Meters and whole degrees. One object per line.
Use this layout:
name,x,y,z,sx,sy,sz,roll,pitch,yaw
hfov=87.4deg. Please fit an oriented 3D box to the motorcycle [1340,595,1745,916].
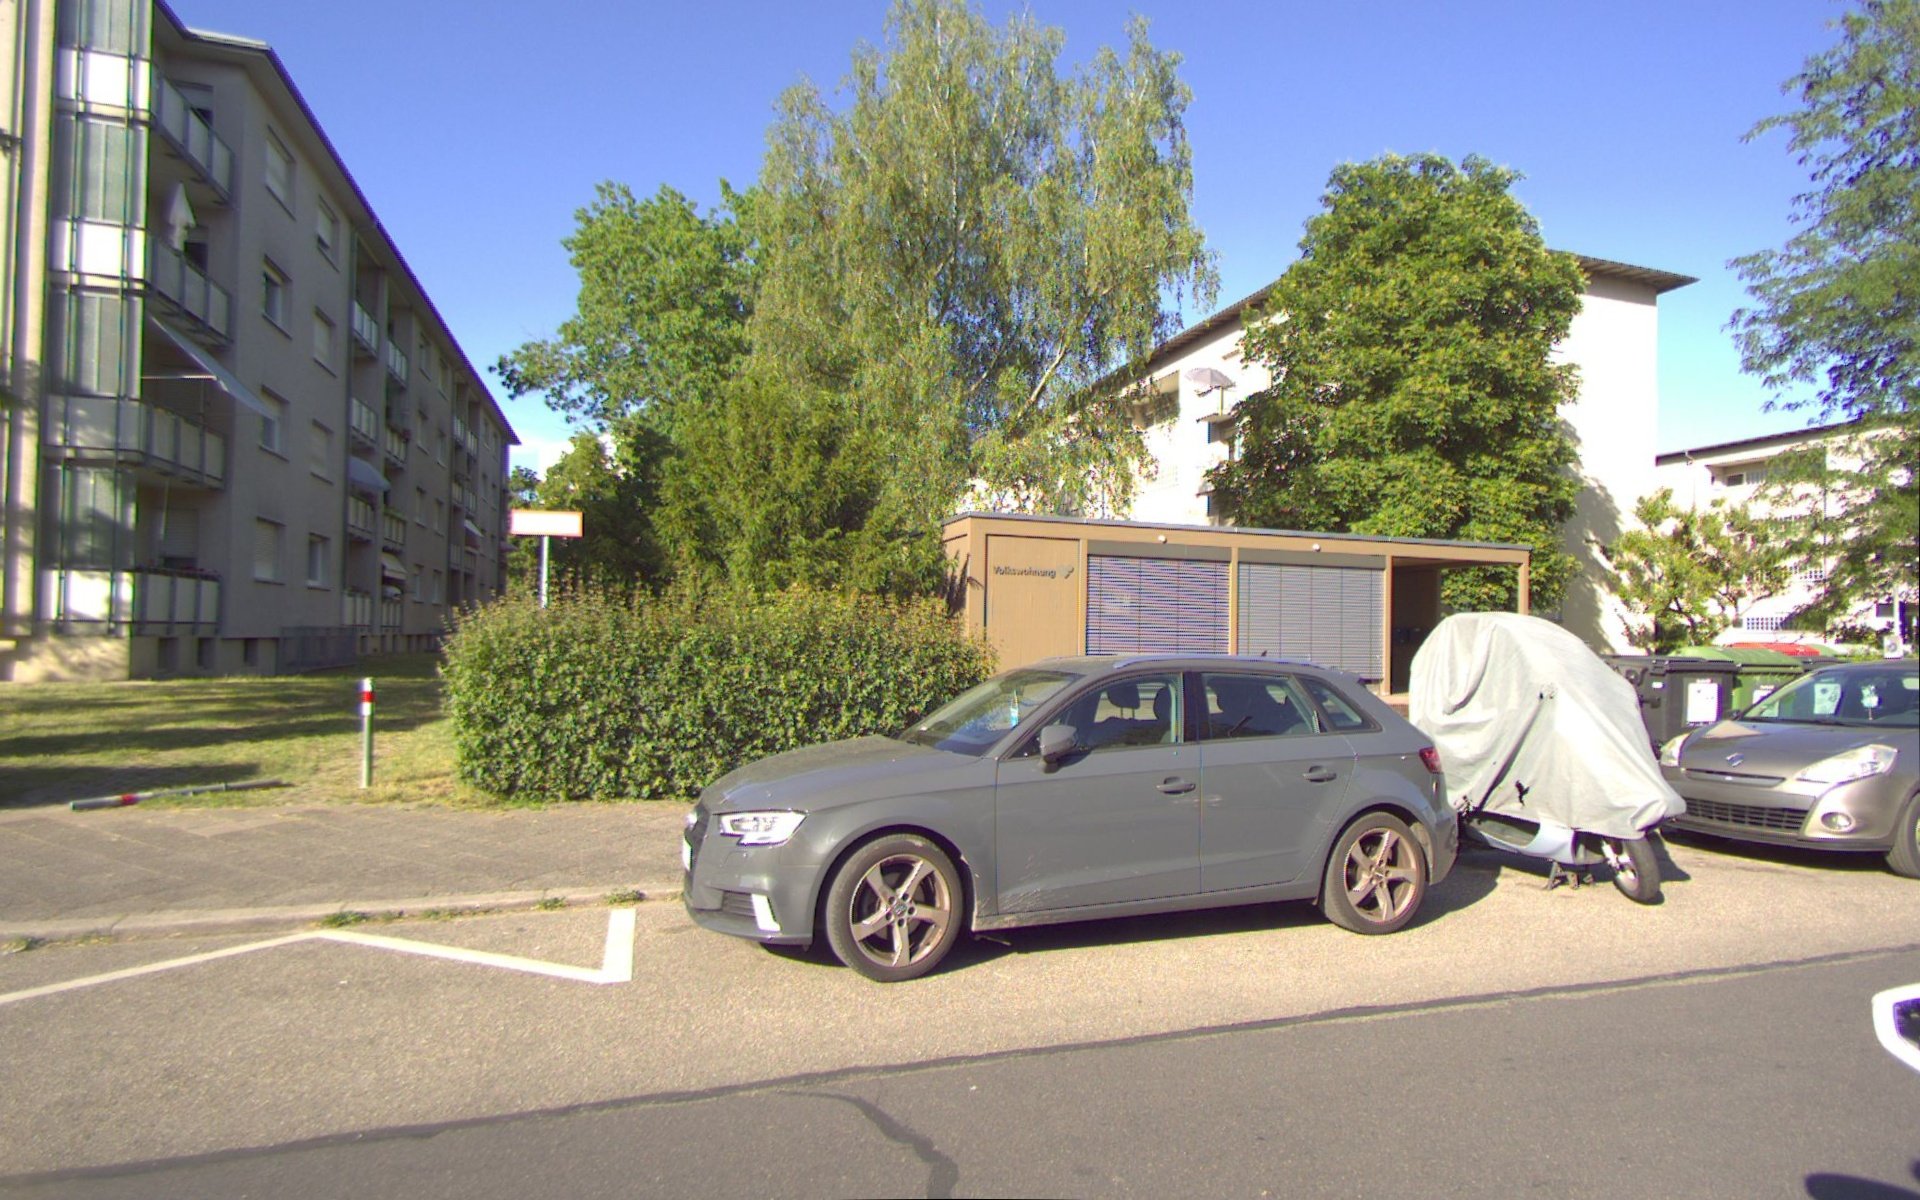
motorcycle,3.717,0.937,6.738,0.918,1.749,2.254,2,-4,-20

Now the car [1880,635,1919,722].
car,20.337,1.567,19.848,3.939,1.662,1.568,2,-1,-20

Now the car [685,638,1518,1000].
car,0.710,0.986,5.535,4.202,1.439,1.754,2,-4,-18

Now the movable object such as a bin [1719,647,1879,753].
movable object such as a bin,11.614,1.361,13.942,1.321,1.357,1.177,1,-1,-17

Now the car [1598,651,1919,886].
car,7.308,1.187,7.878,3.895,1.500,1.754,2,-4,-17

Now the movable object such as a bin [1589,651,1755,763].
movable object such as a bin,9.065,1.336,12.831,1.322,1.305,1.177,1,-1,-17

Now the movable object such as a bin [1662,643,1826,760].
movable object such as a bin,10.345,1.300,13.287,1.322,1.426,1.177,1,-1,-17
